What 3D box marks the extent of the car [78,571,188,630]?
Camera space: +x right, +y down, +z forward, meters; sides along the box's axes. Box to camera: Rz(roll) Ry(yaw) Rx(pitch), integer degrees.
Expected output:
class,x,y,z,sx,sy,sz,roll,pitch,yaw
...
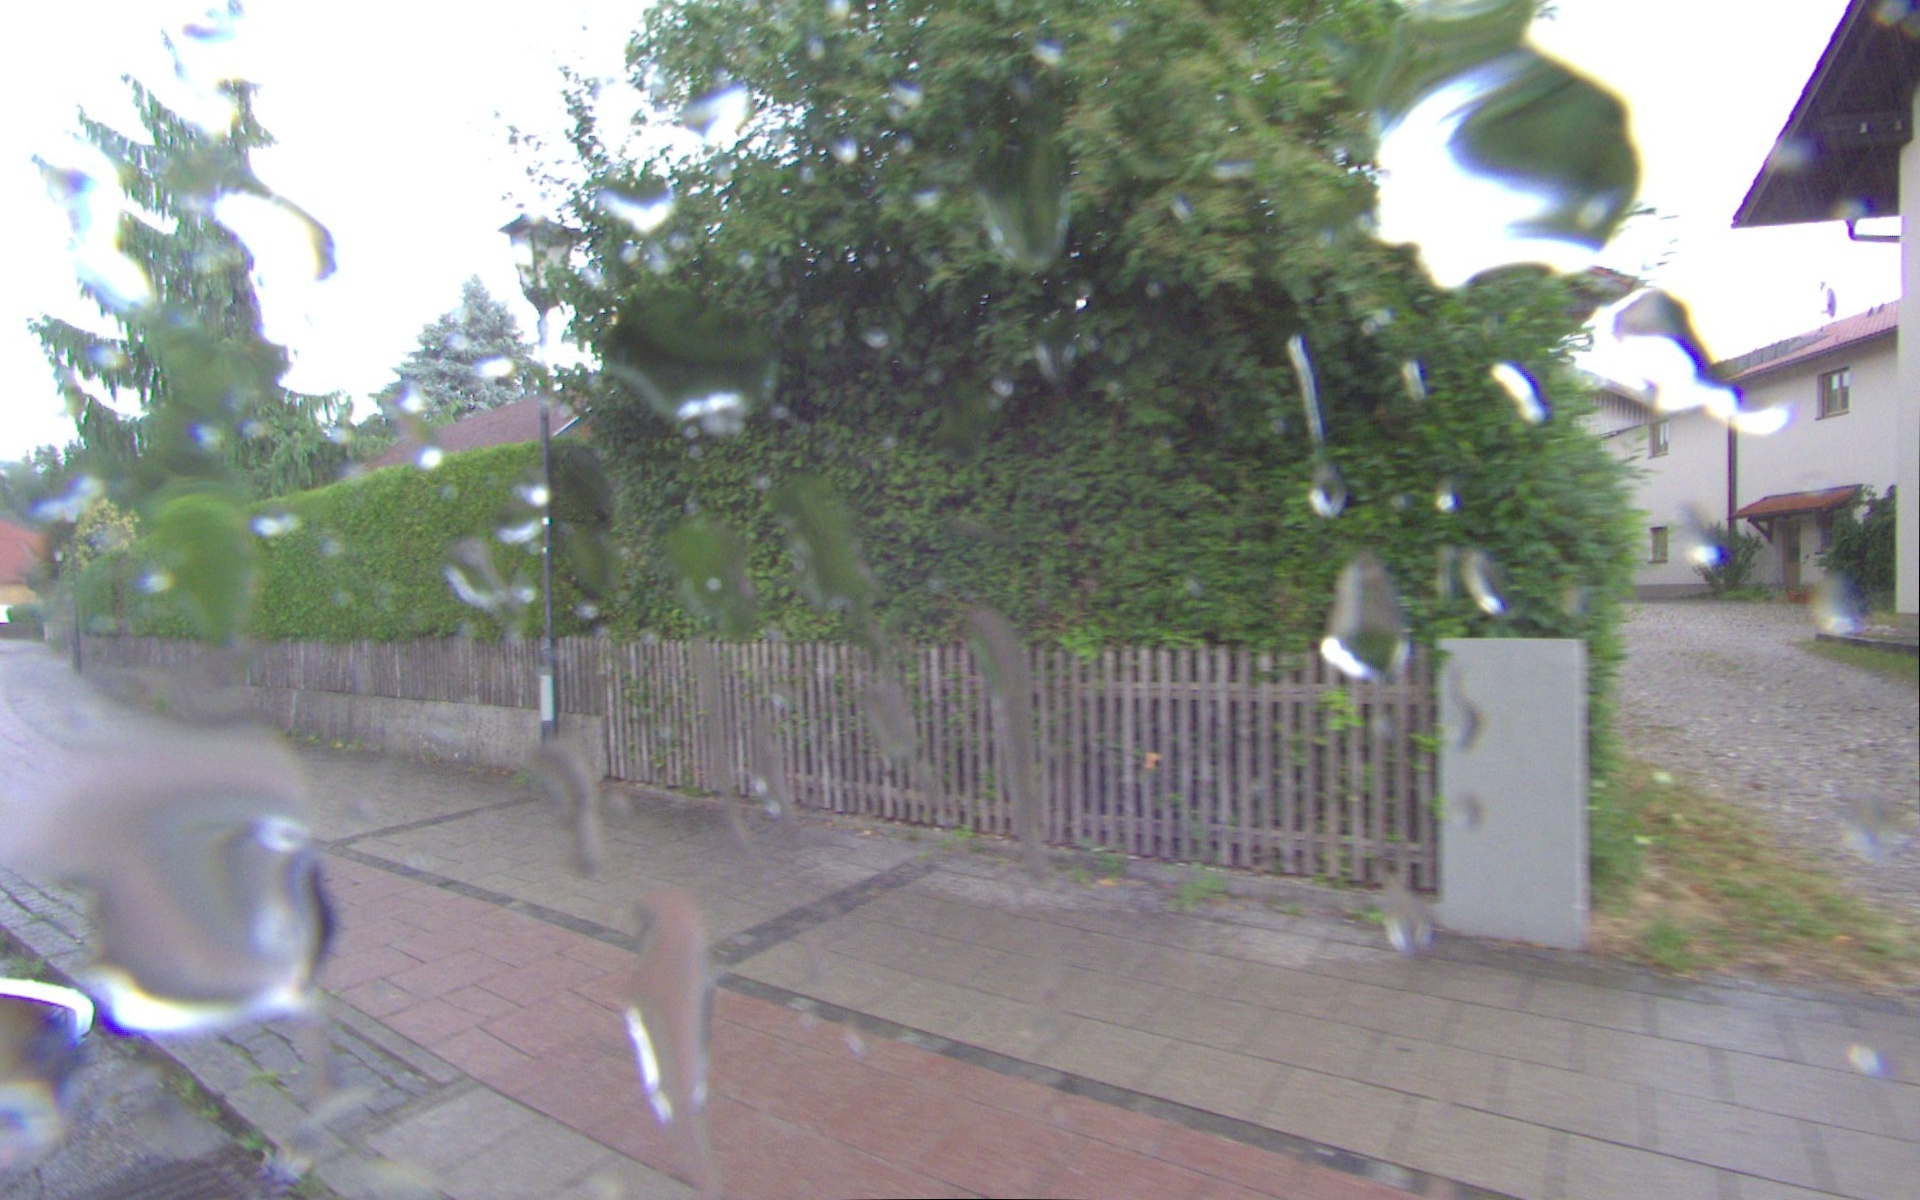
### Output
class,x,y,z,sx,sy,sz,roll,pitch,yaw
car,-32.895,0.076,39.793,4.883,2.201,1.990,-1,-2,33
